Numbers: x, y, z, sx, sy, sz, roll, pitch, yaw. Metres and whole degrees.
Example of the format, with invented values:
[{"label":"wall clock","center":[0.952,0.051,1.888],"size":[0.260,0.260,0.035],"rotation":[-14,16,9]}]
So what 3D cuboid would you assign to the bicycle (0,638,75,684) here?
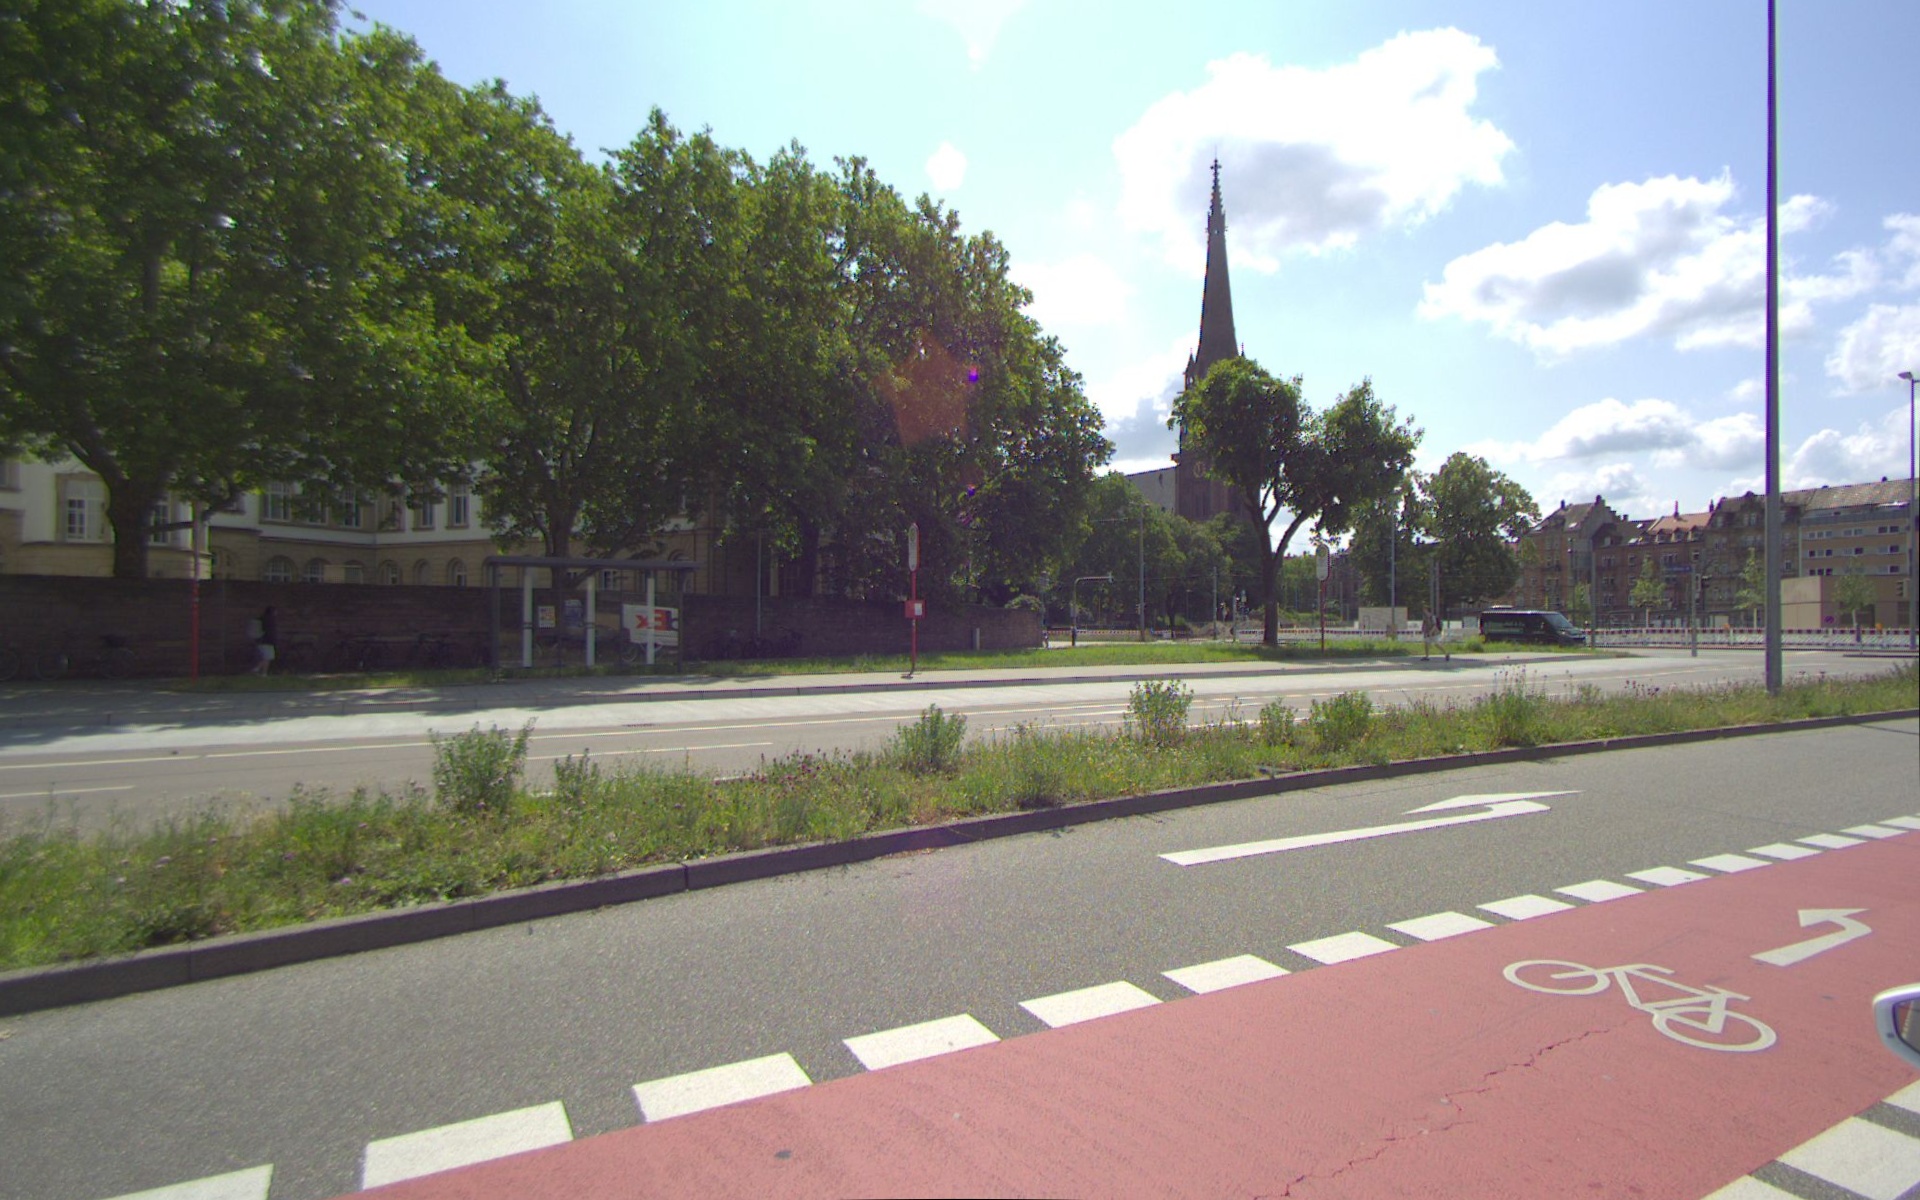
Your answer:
[{"label":"bicycle","center":[-19.461,1.255,20.819],"size":[0.538,0.914,1.655],"rotation":[-1,-1,45]}]

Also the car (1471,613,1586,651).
[{"label":"car","center":[29.988,1.649,53.146],"size":[1.908,1.904,4.980],"rotation":[0,-1,-33]}]

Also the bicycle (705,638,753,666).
[{"label":"bicycle","center":[-8.133,1.824,35.434],"size":[0.537,0.914,1.658],"rotation":[0,-1,39]}]

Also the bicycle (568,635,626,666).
[{"label":"bicycle","center":[-11.204,1.544,31.074],"size":[0.537,0.914,1.658],"rotation":[0,-1,39]}]

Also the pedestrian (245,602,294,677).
[{"label":"pedestrian","center":[-15.436,0.876,22.465],"size":[0.607,1.638,0.754],"rotation":[1,0,39]}]

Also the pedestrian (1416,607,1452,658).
[{"label":"pedestrian","center":[14.826,1.025,31.422],"size":[0.858,1.580,0.555],"rotation":[0,-1,0]}]

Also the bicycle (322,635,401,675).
[{"label":"bicycle","center":[-15.264,1.377,25.639],"size":[0.538,0.964,1.656],"rotation":[-1,-1,43]}]

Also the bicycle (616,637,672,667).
[{"label":"bicycle","center":[-10.226,1.680,32.565],"size":[0.446,0.914,1.786],"rotation":[0,-1,39]}]

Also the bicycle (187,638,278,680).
[{"label":"bicycle","center":[-17.029,1.373,23.533],"size":[0.538,0.914,1.655],"rotation":[-1,-1,44]}]

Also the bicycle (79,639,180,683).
[{"label":"bicycle","center":[-18.129,1.312,21.970],"size":[1.648,0.914,0.499],"rotation":[1,-1,-34]}]

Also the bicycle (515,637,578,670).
[{"label":"bicycle","center":[-12.221,1.567,29.721],"size":[0.537,0.914,1.658],"rotation":[0,-1,39]}]

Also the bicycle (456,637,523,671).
[{"label":"bicycle","center":[-13.274,1.508,28.361],"size":[0.537,0.914,1.658],"rotation":[0,-1,39]}]

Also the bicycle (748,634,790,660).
[{"label":"bicycle","center":[-7.063,1.738,37.225],"size":[0.536,0.914,1.660],"rotation":[0,-1,34]}]

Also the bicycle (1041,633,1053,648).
[{"label":"bicycle","center":[5.398,2.515,62.442],"size":[0.534,0.914,1.666],"rotation":[0,-1,12]}]

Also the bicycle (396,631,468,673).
[{"label":"bicycle","center":[-14.116,1.374,26.874],"size":[0.538,1.065,1.615],"rotation":[-1,-1,43]}]
